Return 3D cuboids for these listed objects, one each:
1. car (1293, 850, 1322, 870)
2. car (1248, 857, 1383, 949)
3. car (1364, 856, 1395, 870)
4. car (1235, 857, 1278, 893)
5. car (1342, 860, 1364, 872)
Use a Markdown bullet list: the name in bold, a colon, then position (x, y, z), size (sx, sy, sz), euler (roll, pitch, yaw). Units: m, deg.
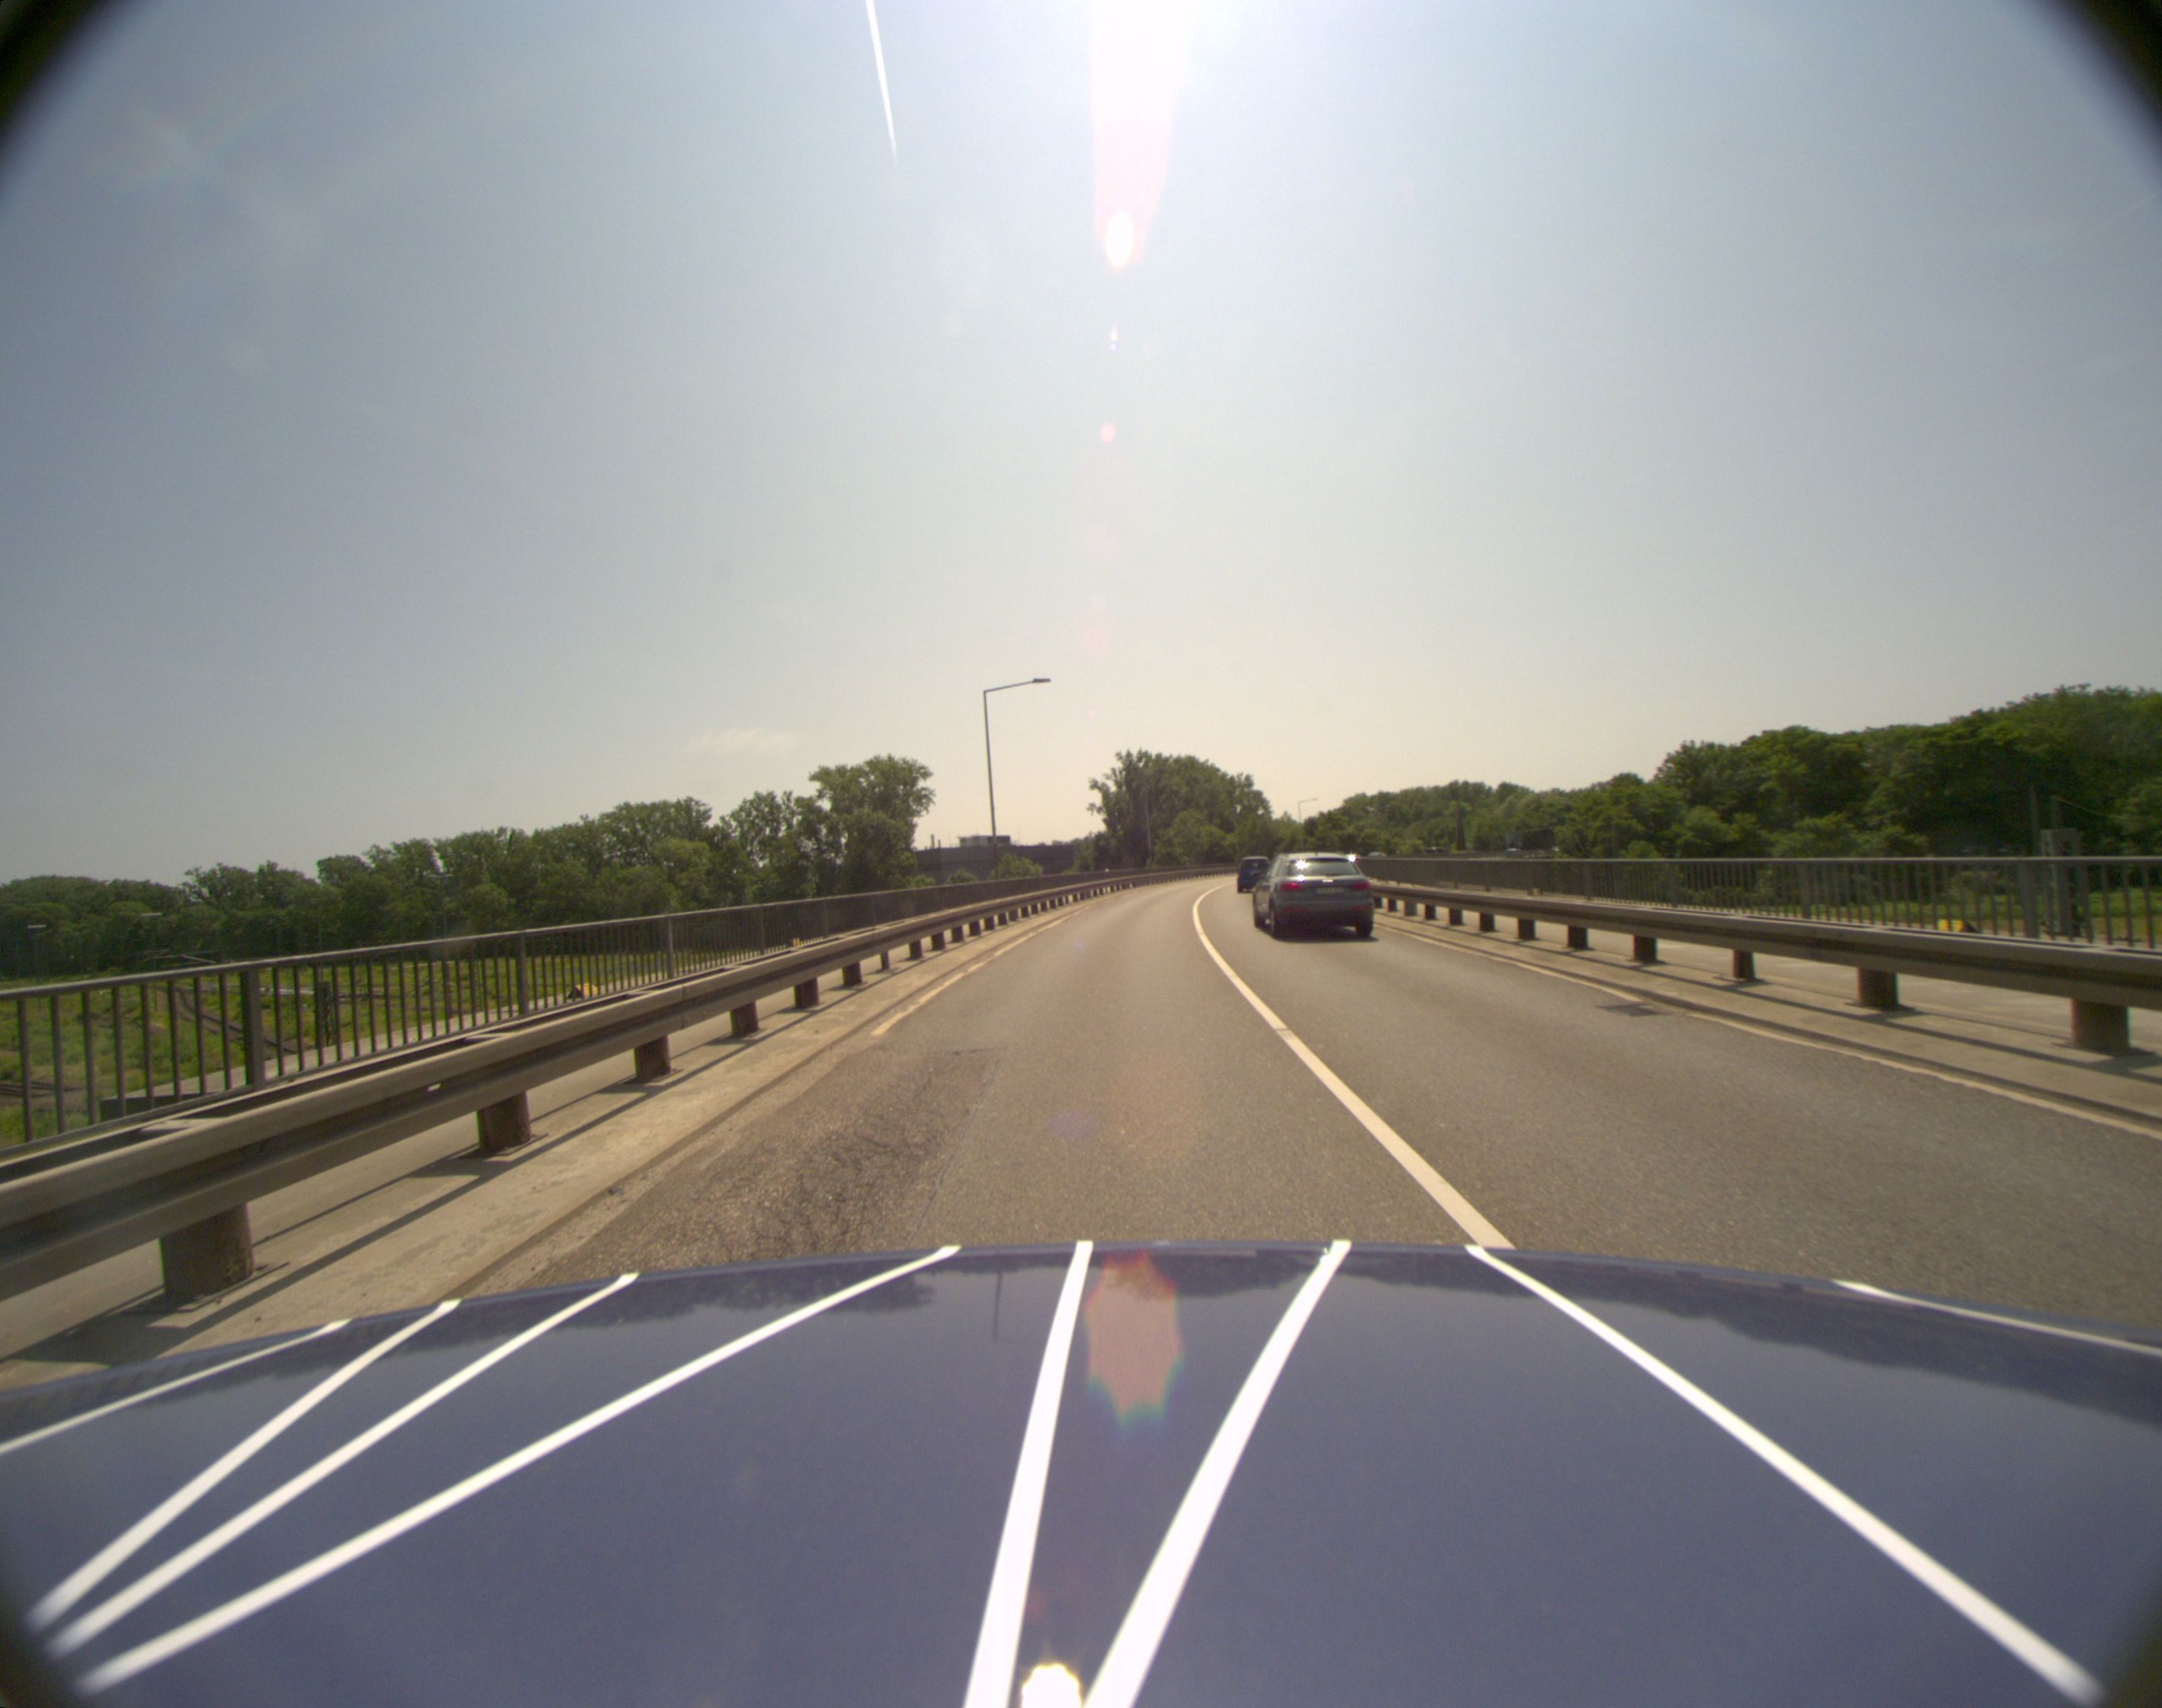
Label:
- **car**: position (24.423, 0.650, 81.767), size (1.995, 2.001, 4.008), euler (-3, -1, 31)
- **car**: position (4.525, 0.902, 15.301), size (1.826, 1.527, 4.198), euler (-2, -1, 7)
- **car**: position (36.927, 1.107, 93.895), size (4.496, 1.586, 1.894), euler (-1, -2, -45)
- **car**: position (7.775, 0.924, 33.598), size (1.599, 1.477, 2.752), euler (-3, -1, 17)
- **car**: position (34.239, 1.501, 95.526), size (1.543, 1.346, 3.585), euler (-3, -2, 38)
